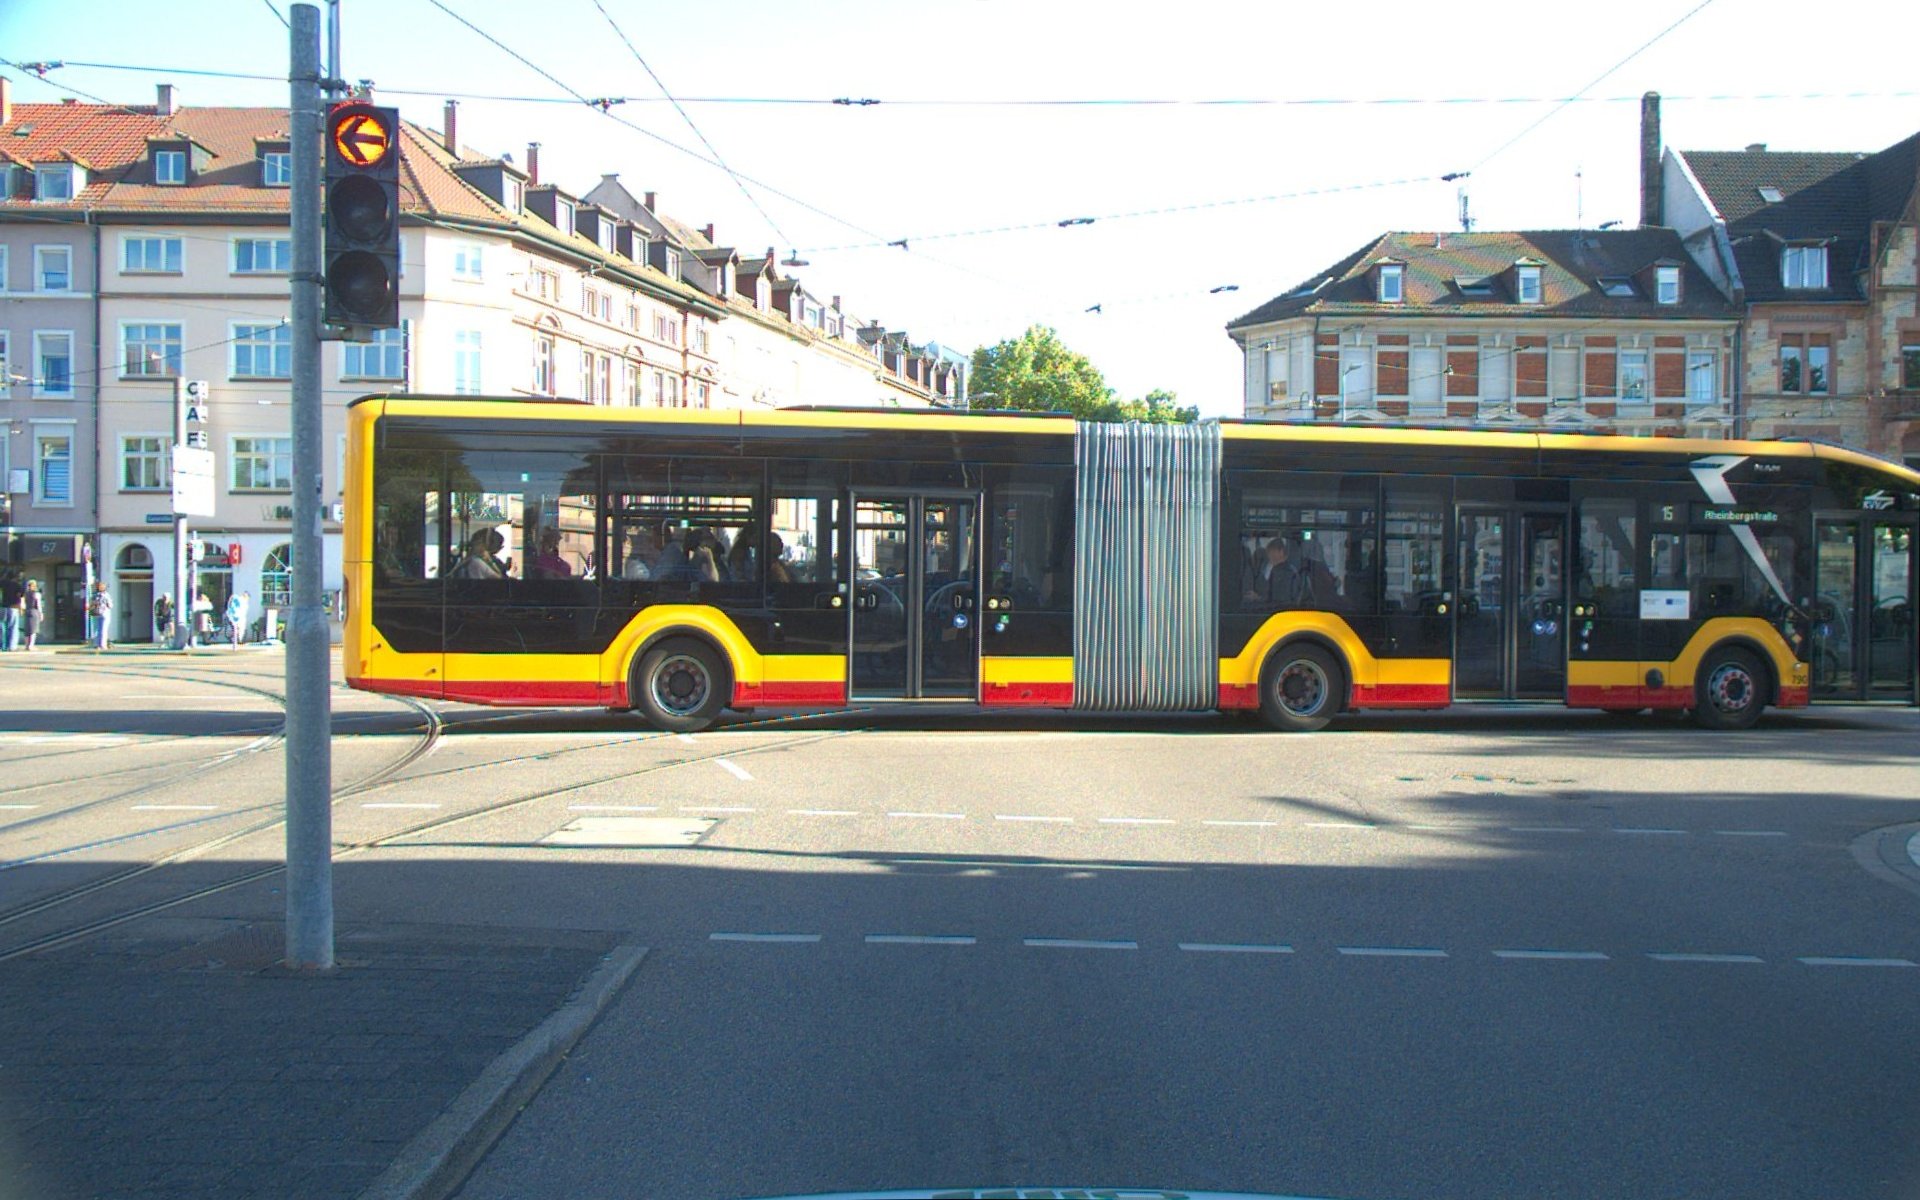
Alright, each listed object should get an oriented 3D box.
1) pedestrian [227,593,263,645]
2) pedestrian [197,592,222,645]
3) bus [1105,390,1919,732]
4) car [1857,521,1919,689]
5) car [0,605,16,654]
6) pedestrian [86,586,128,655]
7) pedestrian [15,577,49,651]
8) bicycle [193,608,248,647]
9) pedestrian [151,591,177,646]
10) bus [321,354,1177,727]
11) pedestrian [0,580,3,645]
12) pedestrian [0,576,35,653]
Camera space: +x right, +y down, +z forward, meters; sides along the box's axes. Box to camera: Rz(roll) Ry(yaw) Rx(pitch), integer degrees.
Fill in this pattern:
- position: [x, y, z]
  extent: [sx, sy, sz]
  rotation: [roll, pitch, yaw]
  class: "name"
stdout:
- position: [-23.573, 0.624, 54.552]
  extent: [0.891, 1.711, 0.742]
  rotation: [0, 0, -7]
  class: "pedestrian"
- position: [-24.555, 0.597, 54.084]
  extent: [0.731, 1.711, 0.623]
  rotation: [0, 0, -26]
  class: "pedestrian"
- position: [6.544, -0.375, 19.343]
  extent: [9.237, 3.517, 2.775]
  rotation: [1, 1, -9]
  class: "bus"
- position: [16.572, 0.086, 25.090]
  extent: [5.016, 2.475, 2.077]
  rotation: [0, 0, -9]
  class: "car"
- position: [-32.129, 0.900, 52.153]
  extent: [3.651, 1.517, 1.818]
  rotation: [1, 0, 2]
  class: "car"
- position: [-21.317, 0.512, 41.331]
  extent: [0.725, 1.711, 0.628]
  rotation: [0, 0, -1]
  class: "pedestrian"
- position: [-22.997, 0.336, 40.982]
  extent: [0.549, 1.817, 0.559]
  rotation: [0, 0, -6]
  class: "pedestrian"
- position: [-25.155, 0.923, 56.261]
  extent: [1.684, 1.299, 0.385]
  rotation: [0, 0, -18]
  class: "bicycle"
- position: [-24.948, 0.583, 51.831]
  extent: [0.731, 1.711, 0.623]
  rotation: [0, 0, -26]
  class: "pedestrian"
- position: [-2.147, -0.551, 17.965]
  extent: [8.454, 3.517, 2.782]
  rotation: [1, 1, -9]
  class: "bus"
- position: [-24.292, 0.314, 41.122]
  extent: [0.685, 1.609, 0.559]
  rotation: [0, 0, -6]
  class: "pedestrian"
- position: [-22.890, 0.344, 39.903]
  extent: [0.751, 1.861, 0.722]
  rotation: [0, 0, -1]
  class: "pedestrian"
